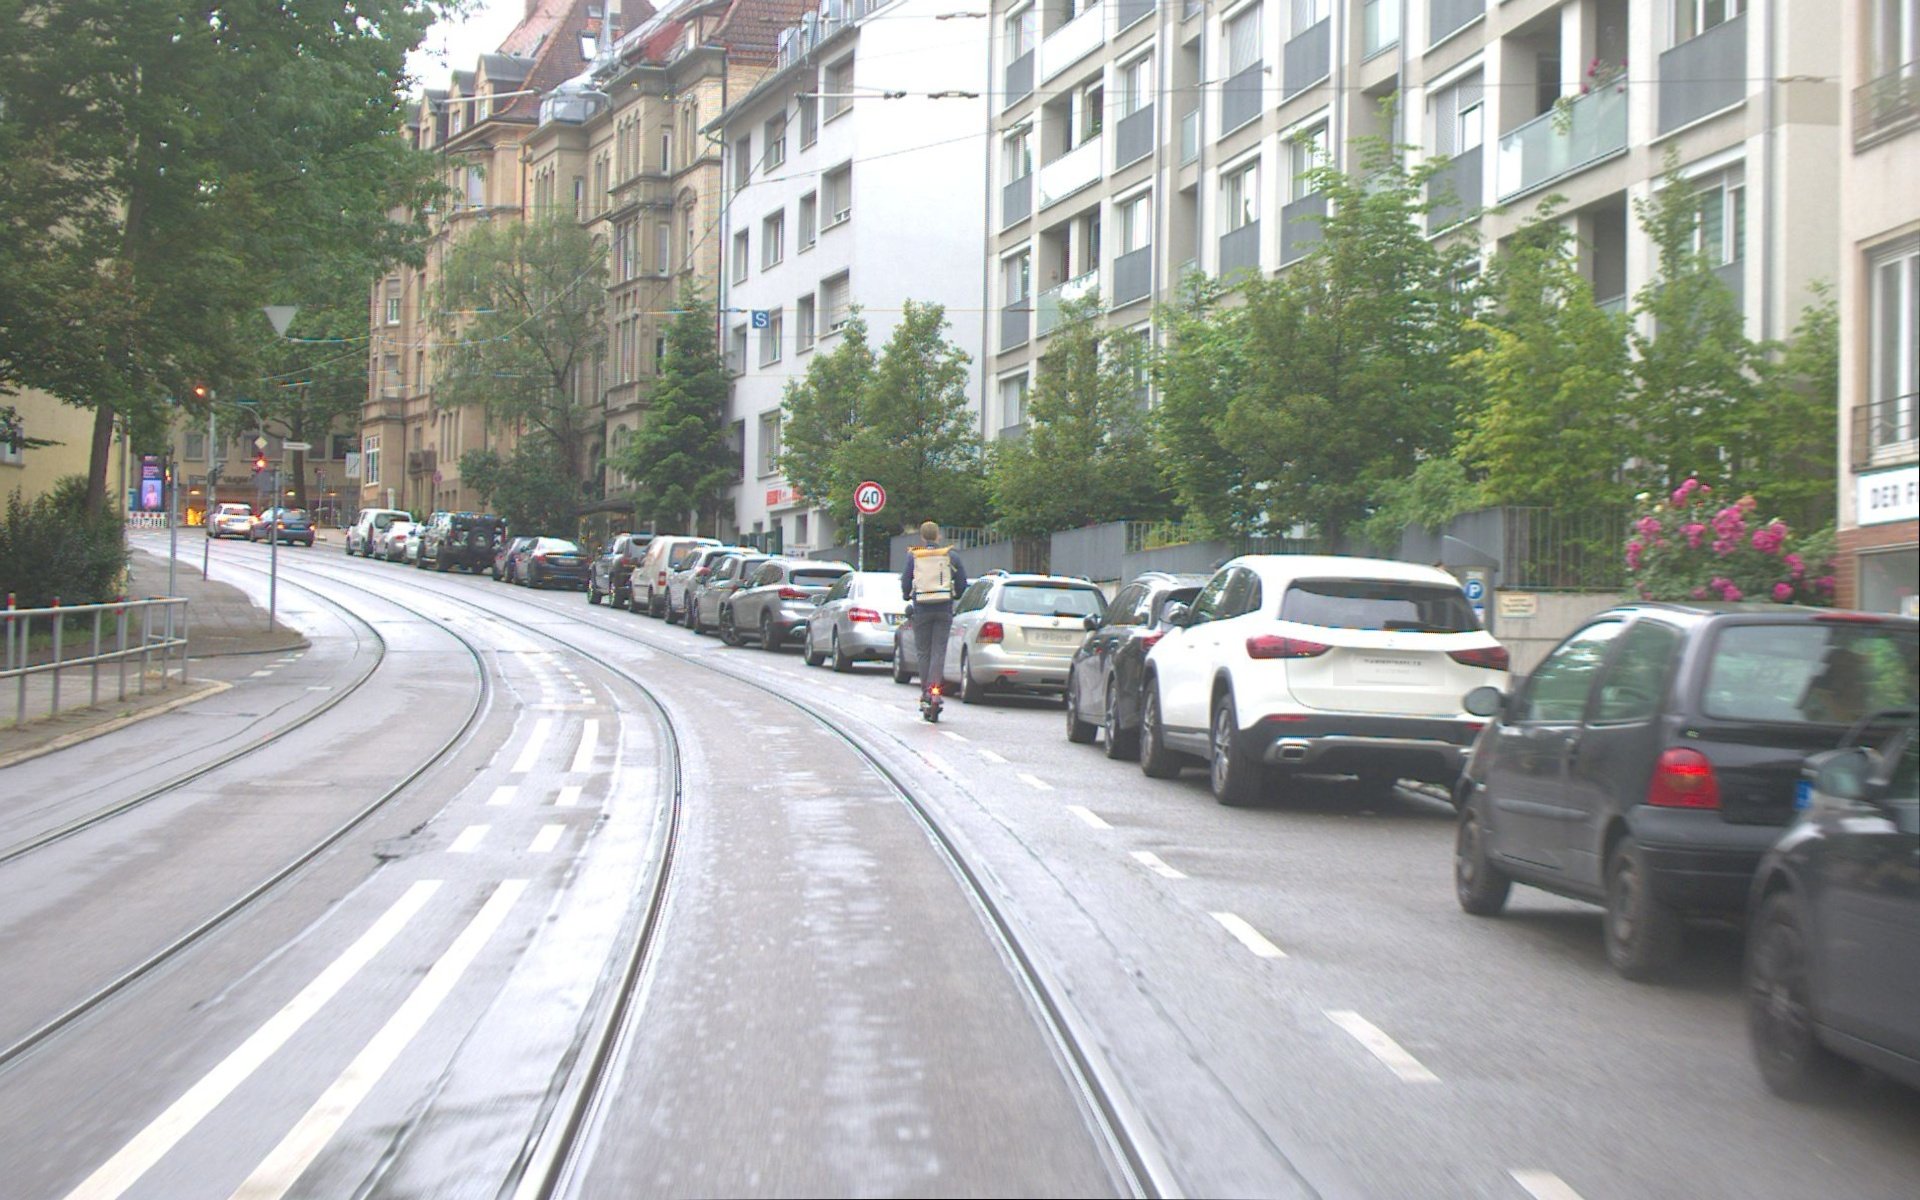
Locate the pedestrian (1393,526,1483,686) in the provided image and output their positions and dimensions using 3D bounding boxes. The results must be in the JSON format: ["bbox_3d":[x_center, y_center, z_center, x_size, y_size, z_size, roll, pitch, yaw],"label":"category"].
[{"bbox_3d":[4.696,0.047,33.804,0.569,1.537,0.930,-1,1,-13],"label":"pedestrian"}]

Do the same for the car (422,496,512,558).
[{"bbox_3d":[-15.779,-2.348,109.897,2.027,1.818,4.369,3,1,-19],"label":"car"}]

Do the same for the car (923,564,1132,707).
[{"bbox_3d":[0.709,0.367,39.322,1.661,1.466,4.509,3,0,-7],"label":"car"}]

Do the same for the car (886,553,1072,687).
[{"bbox_3d":[0.195,0.223,43.897,1.701,1.507,3.715,3,1,-9],"label":"car"}]

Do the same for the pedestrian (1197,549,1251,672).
[{"bbox_3d":[3.351,0.122,43.672,0.569,1.537,0.651,-1,1,-5],"label":"pedestrian"}]

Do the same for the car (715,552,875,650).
[{"bbox_3d":[-2.944,-0.013,60.562,1.766,1.610,4.249,1,1,-17],"label":"car"}]

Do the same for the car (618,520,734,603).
[{"bbox_3d":[-6.446,-0.894,77.770,1.766,1.678,4.250,3,1,-16],"label":"car"}]

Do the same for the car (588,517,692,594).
[{"bbox_3d":[-7.709,-1.098,82.543,1.766,1.678,4.250,3,1,-15],"label":"car"}]

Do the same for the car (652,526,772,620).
[{"bbox_3d":[-5.228,-0.595,72.030,1.766,1.781,4.250,3,1,-13],"label":"car"}]

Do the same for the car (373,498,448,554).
[{"bbox_3d":[-19.297,-2.614,120.620,2.027,1.818,4.141,3,1,-16],"label":"car"}]

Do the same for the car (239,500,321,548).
[{"bbox_3d":[-27.444,-3.072,138.672,2.027,1.728,4.140,2,1,-29],"label":"car"}]

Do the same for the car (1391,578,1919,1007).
[{"bbox_3d":[3.055,0.692,14.501,1.556,1.432,4.304,2,1,-5],"label":"car"}]

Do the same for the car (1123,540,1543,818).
[{"bbox_3d":[2.395,0.454,23.201,1.837,1.567,4.249,3,1,-7],"label":"car"}]

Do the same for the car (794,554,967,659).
[{"bbox_3d":[-1.231,0.062,50.935,1.761,1.430,4.641,1,1,-11],"label":"car"}]

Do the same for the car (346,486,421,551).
[{"bbox_3d":[-21.088,-2.998,125.689,2.027,2.210,4.141,3,1,-18],"label":"car"}]

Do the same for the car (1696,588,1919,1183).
[{"bbox_3d":[3.237,0.757,8.625,1.683,1.432,4.065,2,1,-3],"label":"car"}]

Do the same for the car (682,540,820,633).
[{"bbox_3d":[-4.078,-0.286,66.588,1.766,1.610,4.250,3,1,-15],"label":"car"}]

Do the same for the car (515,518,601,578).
[{"bbox_3d":[-11.240,-1.472,95.883,1.766,1.512,4.141,3,1,-15],"label":"car"}]

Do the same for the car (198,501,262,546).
[{"bbox_3d":[-30.582,-3.213,143.951,1.856,1.728,4.141,3,1,-21],"label":"car"}]

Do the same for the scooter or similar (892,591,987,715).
[{"bbox_3d":[-0.204,0.479,32.286,0.513,1.046,2.009,4,1,-10],"label":"scooter or similar"}]

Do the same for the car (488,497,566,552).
[{"bbox_3d":[-12.686,-2.234,100.647,1.649,1.530,3.890,-1,2,-16],"label":"car"}]

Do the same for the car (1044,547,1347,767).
[{"bbox_3d":[1.838,0.400,28.261,1.701,1.507,4.572,4,1,-5],"label":"car"}]

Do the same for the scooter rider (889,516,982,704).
[{"bbox_3d":[-0.233,0.085,32.262,0.623,1.700,0.844,4,1,-10],"label":"scooter rider"}]
